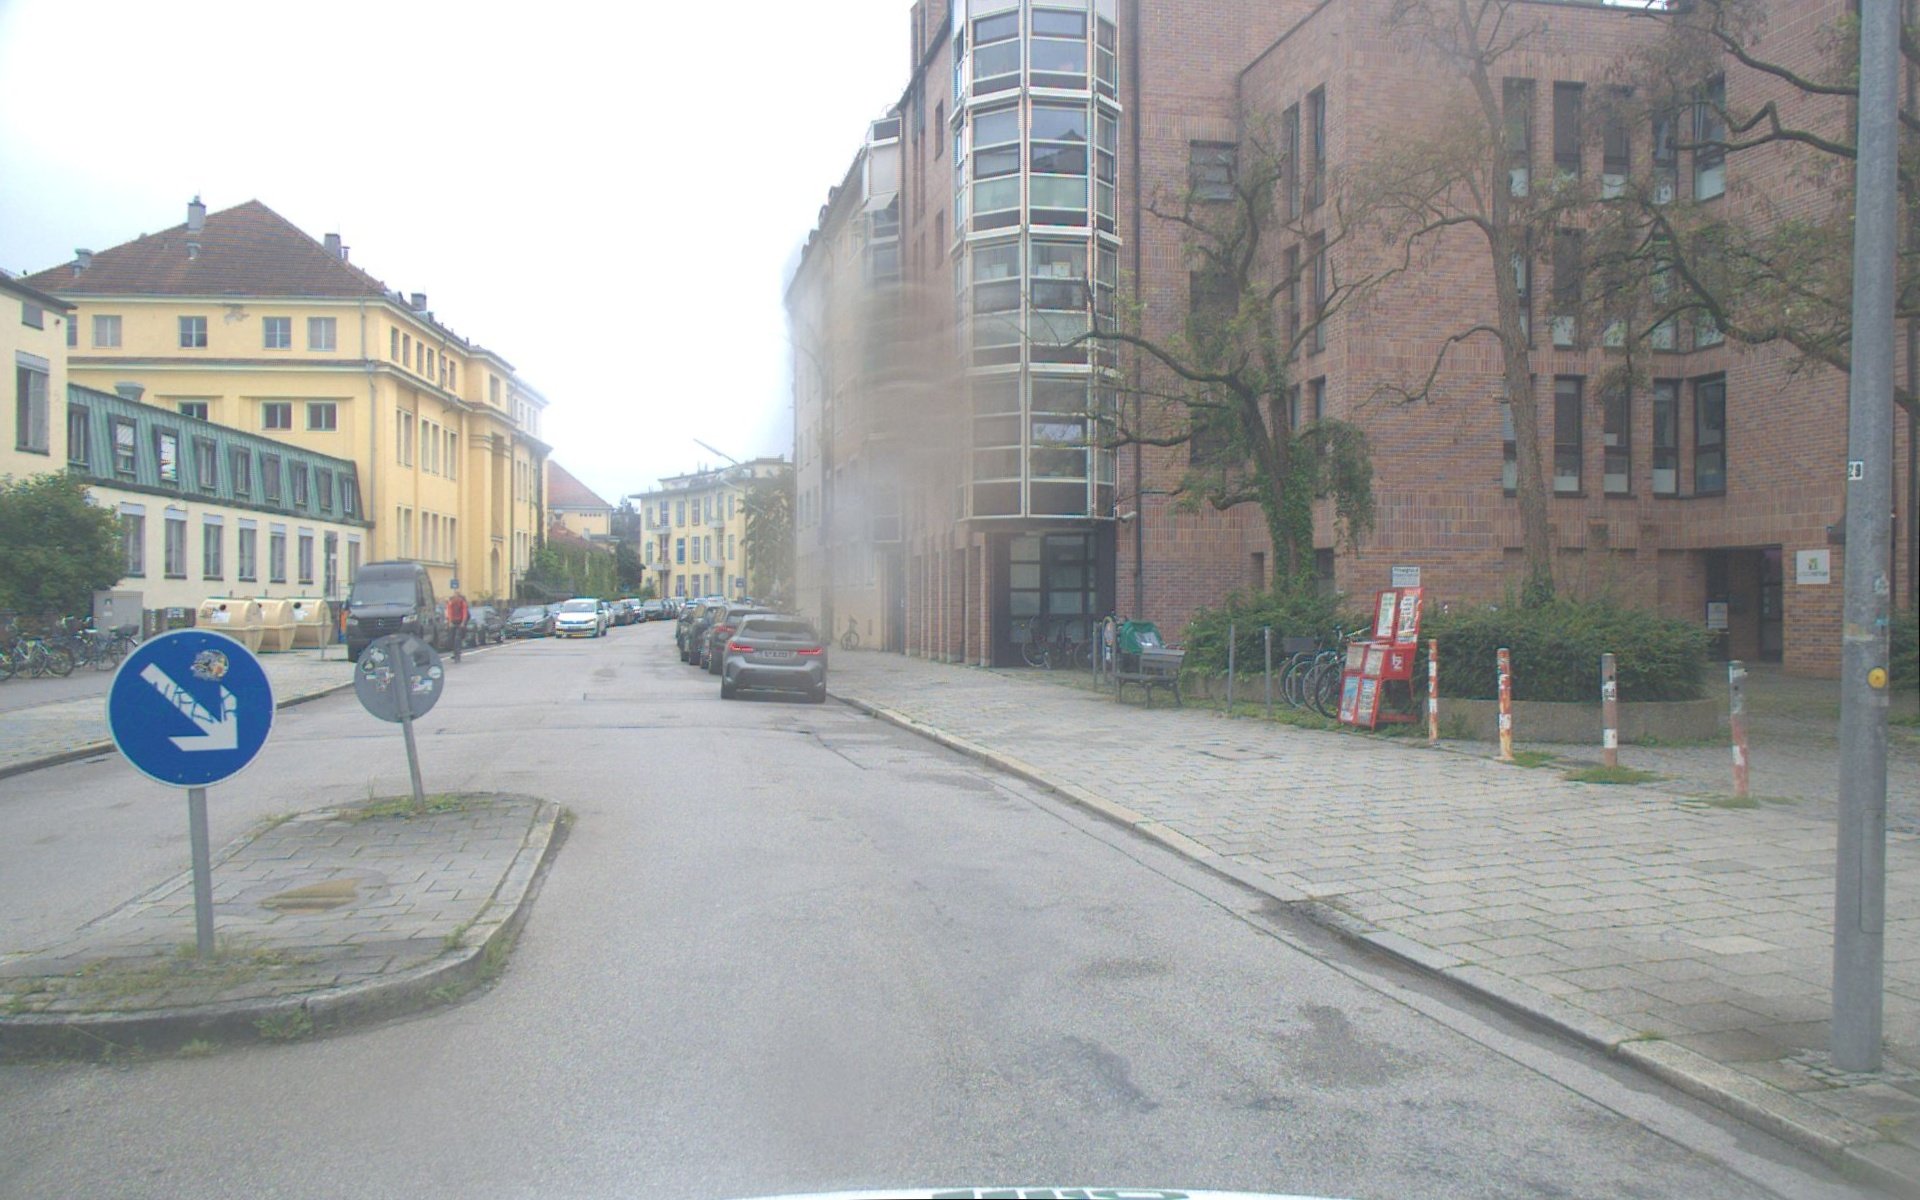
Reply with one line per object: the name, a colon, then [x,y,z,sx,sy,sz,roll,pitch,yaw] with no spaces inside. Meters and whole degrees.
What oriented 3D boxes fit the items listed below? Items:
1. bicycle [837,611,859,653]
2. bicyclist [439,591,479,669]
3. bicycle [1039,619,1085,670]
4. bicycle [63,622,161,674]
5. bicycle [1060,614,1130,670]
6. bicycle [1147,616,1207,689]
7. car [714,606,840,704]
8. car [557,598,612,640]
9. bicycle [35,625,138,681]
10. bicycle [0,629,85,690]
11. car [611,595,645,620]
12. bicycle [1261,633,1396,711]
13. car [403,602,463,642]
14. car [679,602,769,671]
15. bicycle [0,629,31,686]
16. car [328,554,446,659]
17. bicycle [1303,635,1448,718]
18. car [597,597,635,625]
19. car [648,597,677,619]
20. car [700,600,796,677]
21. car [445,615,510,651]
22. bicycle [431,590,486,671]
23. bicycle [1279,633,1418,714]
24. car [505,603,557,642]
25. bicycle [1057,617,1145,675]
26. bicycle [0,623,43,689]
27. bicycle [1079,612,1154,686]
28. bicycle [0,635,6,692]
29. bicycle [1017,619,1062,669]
bicycle: [-3.778,1.054,55.571,0.459,1.310,2.669,2,1,-9]
bicyclist: [-13.437,0.796,44.398,0.751,2.048,0.767,-3,1,-5]
bicycle: [2.273,0.981,37.092,0.477,1.078,1.989,2,0,-12]
bicycle: [-19.375,1.099,37.799,1.865,1.111,0.677,2,0,0]
bicycle: [2.931,0.901,35.891,1.447,1.167,0.382,2,0,-5]
bicycle: [3.660,0.868,27.840,0.412,1.194,1.357,2,0,34]
car: [-3.294,0.915,29.067,1.890,1.539,4.381,2,0,-10]
car: [-16.288,0.846,71.891,1.988,1.649,4.495,-2,-1,-9]
bicycle: [-19.088,1.150,36.167,1.916,1.151,0.573,2,0,0]
bicycle: [-19.041,1.200,33.510,2.263,1.155,0.581,2,0,0]
car: [-22.419,0.516,111.821,1.956,1.576,3.994,2,1,-7]
bicycle: [4.936,0.958,22.182,1.669,0.982,0.545,2,0,-10]
car: [-23.614,0.962,74.214,1.686,1.689,3.745,2,1,-4]
car: [-6.380,0.942,44.338,1.931,1.630,4.655,2,1,-14]
bicycle: [-19.098,1.094,32.080,1.828,1.047,0.540,2,0,0]
car: [-16.319,0.215,47.420,2.379,2.762,5.935,-1,-1,-11]
bicycle: [5.212,0.956,20.764,1.669,0.982,0.545,2,0,-10]
car: [-21.261,0.656,102.464,1.956,1.576,3.994,2,1,-7]
car: [-22.544,0.573,125.413,1.956,1.576,3.994,2,1,-7]
car: [-5.124,0.879,39.492,1.799,1.630,4.251,2,1,-14]
car: [-18.446,1.246,63.362,1.497,1.223,3.739,2,1,-2]
bicycle: [-13.410,0.782,44.273,0.733,2.048,2.845,-2,1,-4]
bicycle: [5.050,0.952,21.521,1.669,0.982,0.545,2,0,-10]
car: [-19.097,0.981,73.678,1.739,1.577,3.772,2,1,-8]
bicycle: [3.020,0.979,35.442,1.812,1.167,0.487,2,0,-5]
bicycle: [-18.818,1.066,31.460,2.501,1.227,0.424,0,0,0]
bicycle: [2.813,0.881,29.971,0.525,1.270,2.403,1,-2,-16]
bicycle: [-18.757,1.162,30.732,1.754,1.051,0.507,2,0,0]
bicycle: [1.764,0.961,36.977,0.477,1.078,1.989,2,-1,-12]
